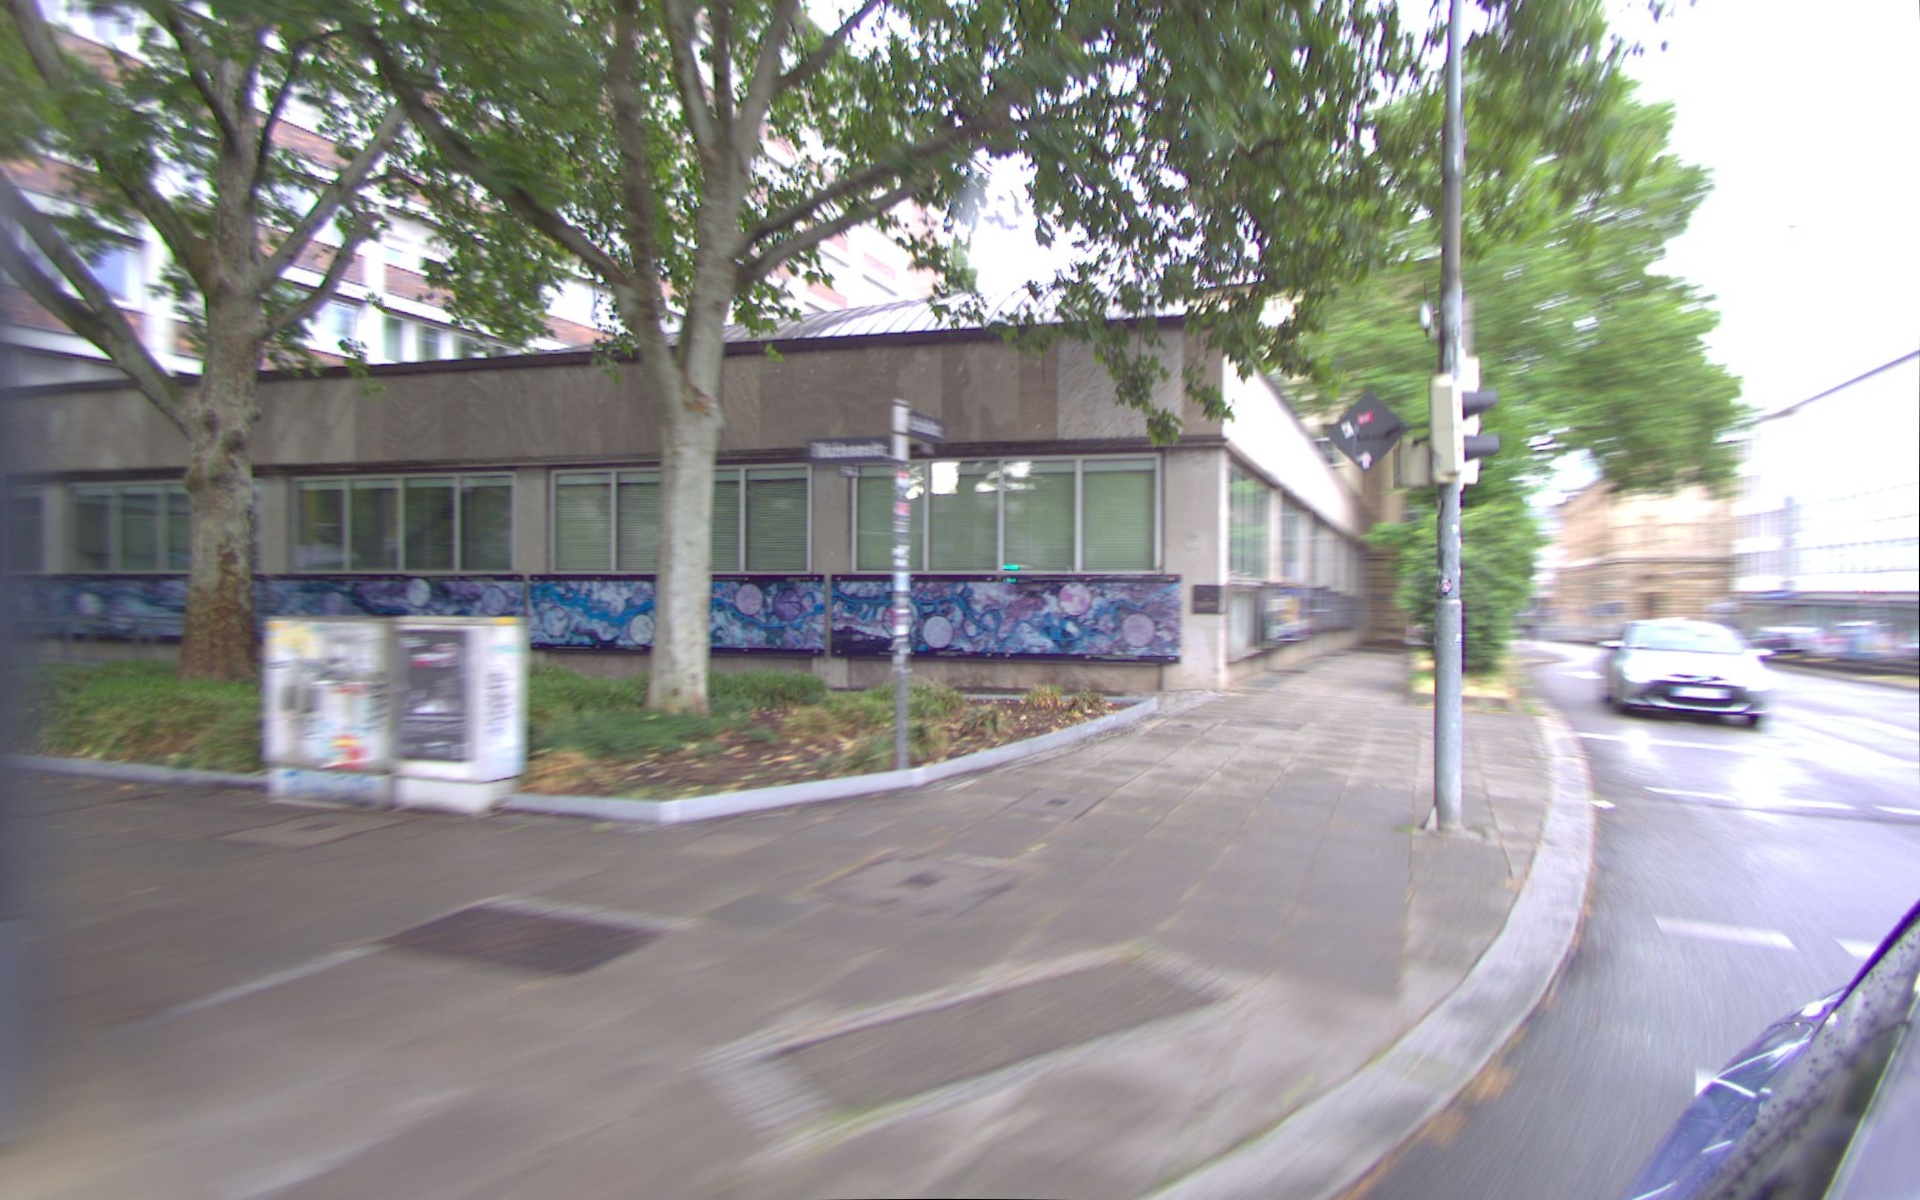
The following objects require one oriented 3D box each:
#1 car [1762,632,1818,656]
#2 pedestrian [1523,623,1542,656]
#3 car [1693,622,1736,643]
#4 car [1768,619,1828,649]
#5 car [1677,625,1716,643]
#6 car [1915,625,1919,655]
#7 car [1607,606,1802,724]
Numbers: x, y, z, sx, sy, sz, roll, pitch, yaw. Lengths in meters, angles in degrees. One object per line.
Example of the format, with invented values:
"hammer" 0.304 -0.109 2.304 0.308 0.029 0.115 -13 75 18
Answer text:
"car" 52.364 2.773 63.947 1.613 1.374 3.842 0 -1 22
"pedestrian" 29.357 2.001 51.868 0.716 1.660 0.750 -1 -1 38
"car" 65.997 2.819 88.579 1.867 1.645 4.445 0 -1 21
"car" 58.661 2.373 70.957 1.867 1.960 4.445 0 -1 21
"car" 59.875 2.766 82.345 1.613 1.374 3.842 0 -1 22
"car" 49.811 2.073 50.376 1.867 1.533 4.048 0 -1 21
"car" 11.174 0.878 15.498 1.797 1.452 4.253 2 0 29
